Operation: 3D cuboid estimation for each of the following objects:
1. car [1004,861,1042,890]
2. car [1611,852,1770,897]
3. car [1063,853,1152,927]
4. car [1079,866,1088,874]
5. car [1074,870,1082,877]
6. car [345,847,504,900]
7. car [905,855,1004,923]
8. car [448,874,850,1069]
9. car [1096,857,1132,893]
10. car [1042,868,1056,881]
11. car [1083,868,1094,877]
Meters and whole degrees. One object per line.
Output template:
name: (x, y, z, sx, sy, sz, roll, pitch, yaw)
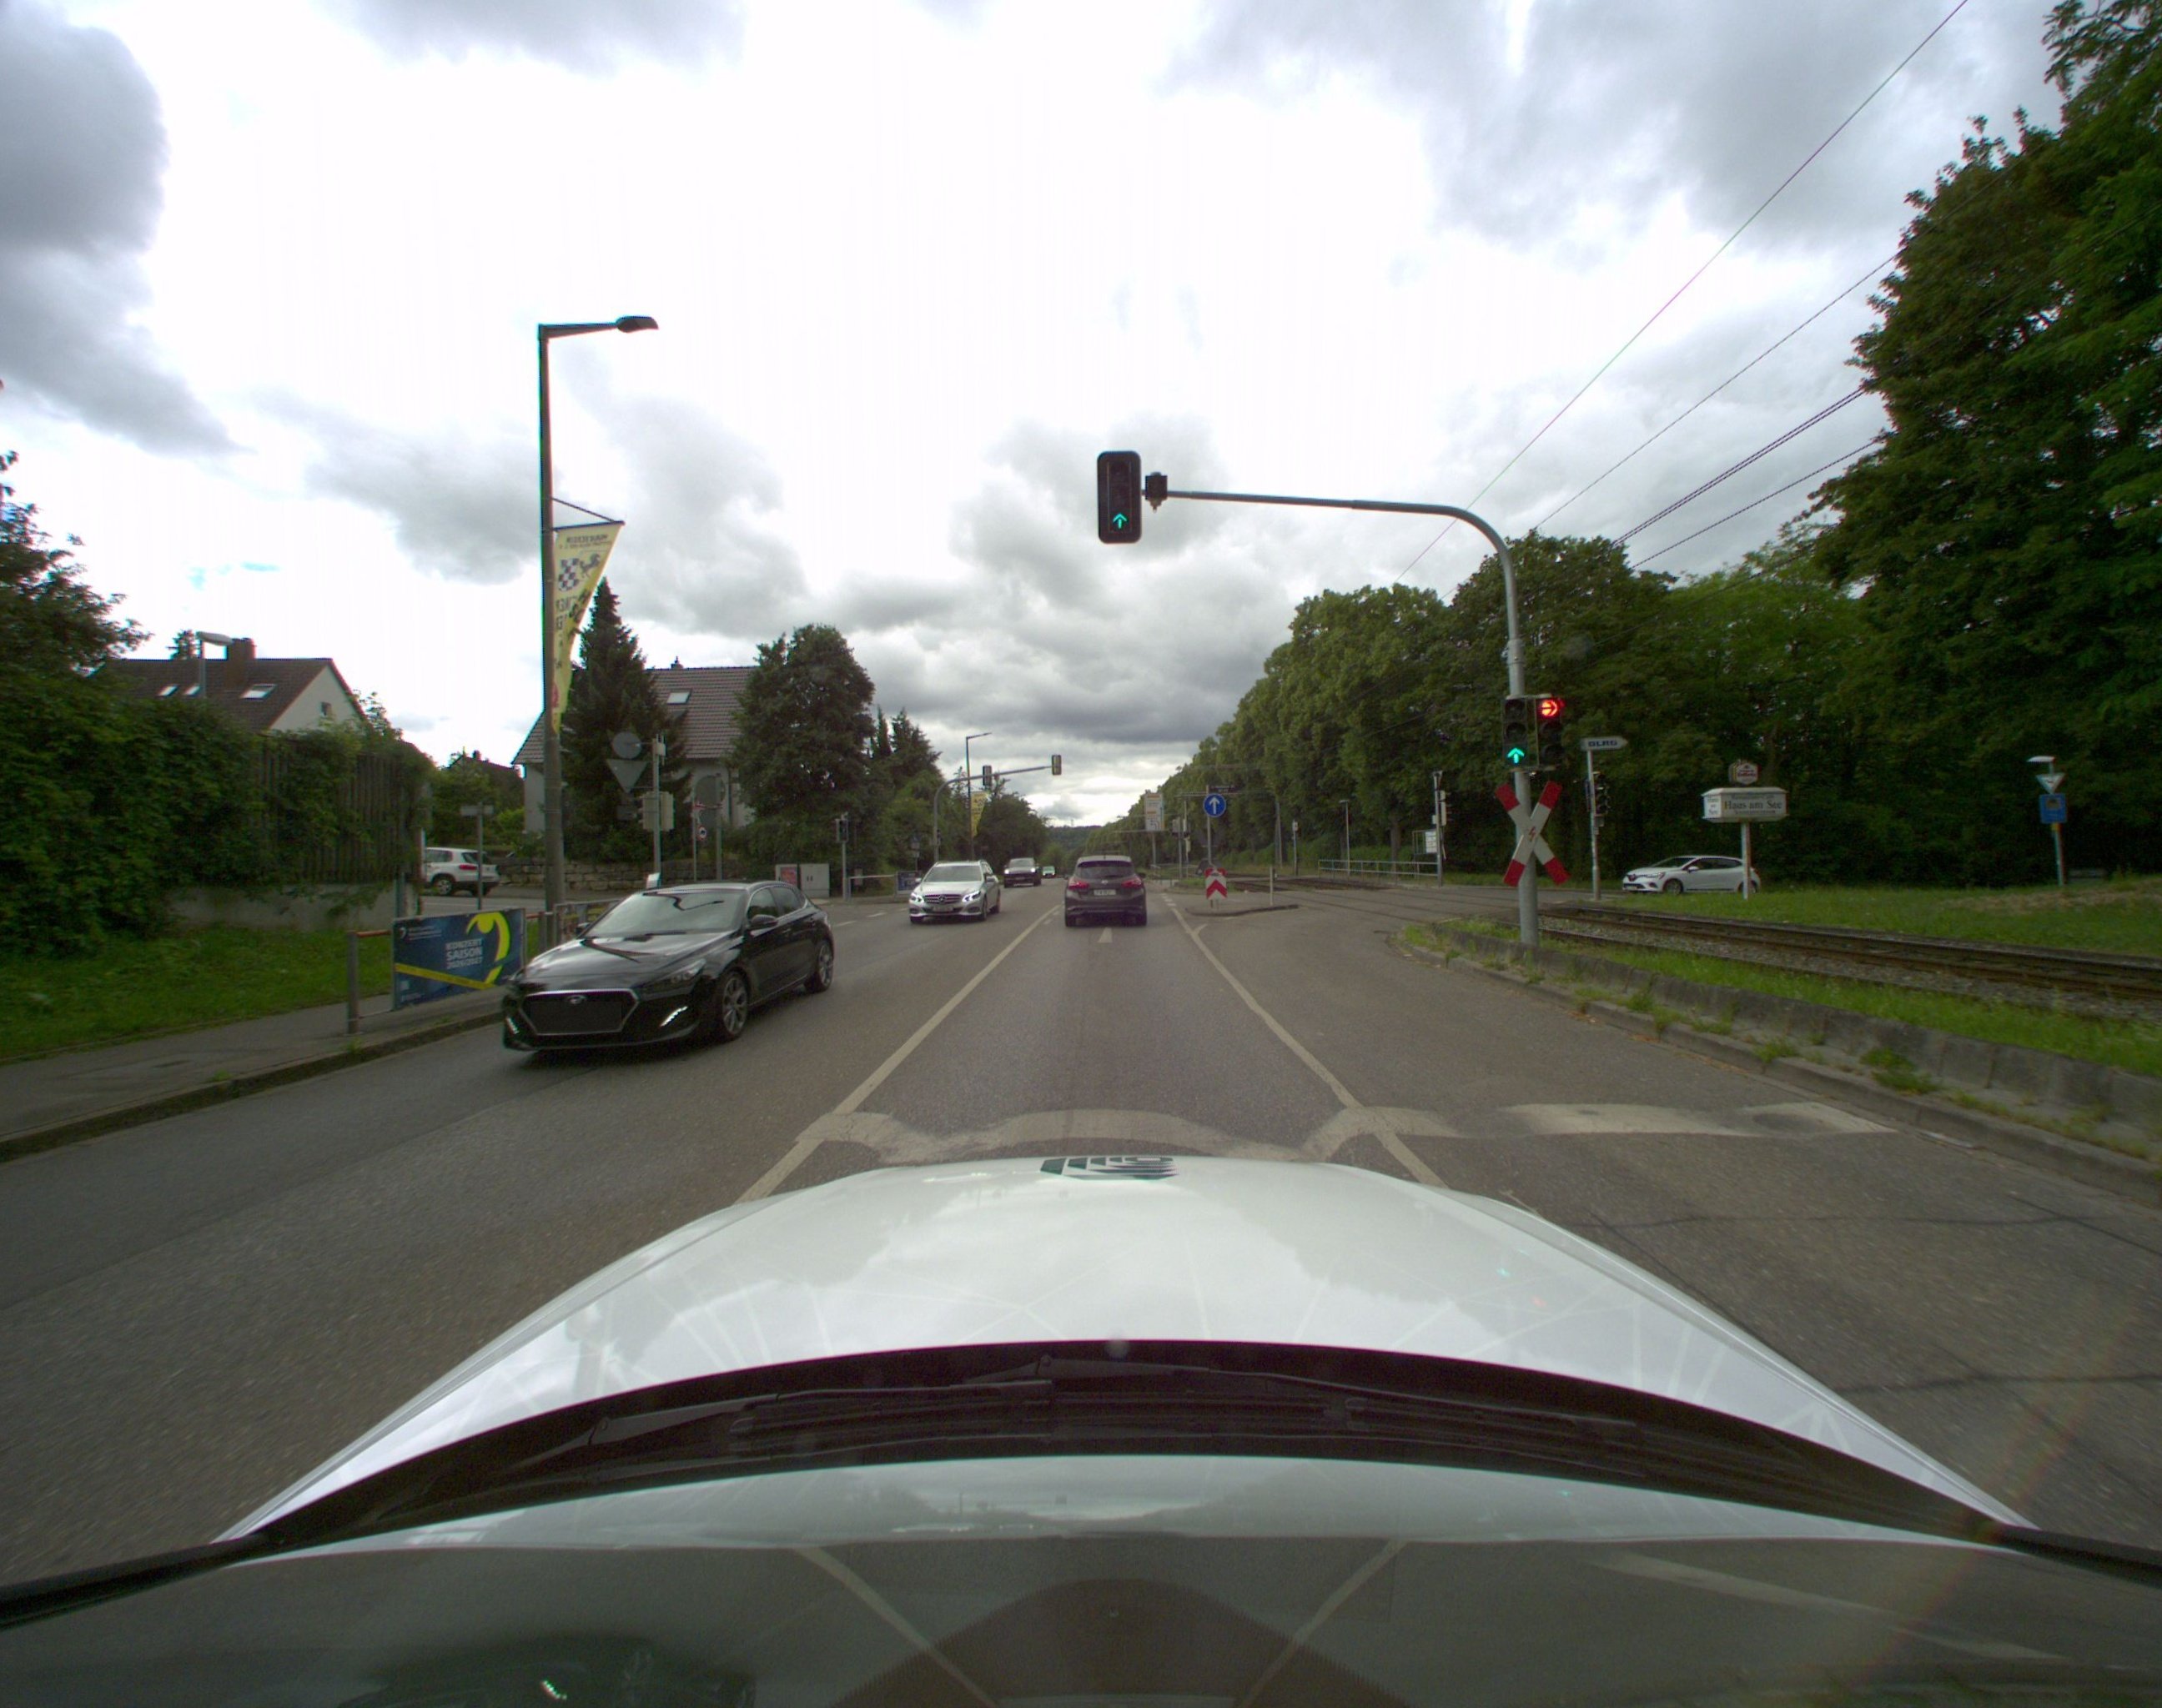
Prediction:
car: (-3.306, 1.246, 46.997, 1.895, 1.574, 4.481, 0, -1, 0)
car: (20.572, 0.667, 27.609, 3.979, 1.354, 1.997, 2, 0, -4)
car: (0.621, 0.741, 19.067, 1.828, 1.519, 4.485, 0, 0, 2)
car: (0.450, 2.948, 152.495, 1.736, 1.310, 4.000, 0, 0, 0)
car: (-0.663, 4.193, 173.017, 1.736, 1.310, 4.000, 0, 0, 0)
car: (-22.529, 0.642, 28.061, 3.882, 1.598, 1.841, 3, 0, -1)
car: (-3.220, 0.821, 21.730, 1.813, 1.567, 5.204, -1, 0, 0)
car: (-4.020, 0.985, 8.532, 1.805, 1.373, 4.163, -2, 0, 2)
car: (1.505, 0.925, 37.718, 1.533, 1.478, 3.766, -2, 0, 2)
car: (-4.498, 2.856, 114.337, 1.779, 1.696, 4.000, -2, -1, 0)
car: (1.289, 3.044, 135.941, 1.736, 1.310, 4.000, 0, 0, 0)
